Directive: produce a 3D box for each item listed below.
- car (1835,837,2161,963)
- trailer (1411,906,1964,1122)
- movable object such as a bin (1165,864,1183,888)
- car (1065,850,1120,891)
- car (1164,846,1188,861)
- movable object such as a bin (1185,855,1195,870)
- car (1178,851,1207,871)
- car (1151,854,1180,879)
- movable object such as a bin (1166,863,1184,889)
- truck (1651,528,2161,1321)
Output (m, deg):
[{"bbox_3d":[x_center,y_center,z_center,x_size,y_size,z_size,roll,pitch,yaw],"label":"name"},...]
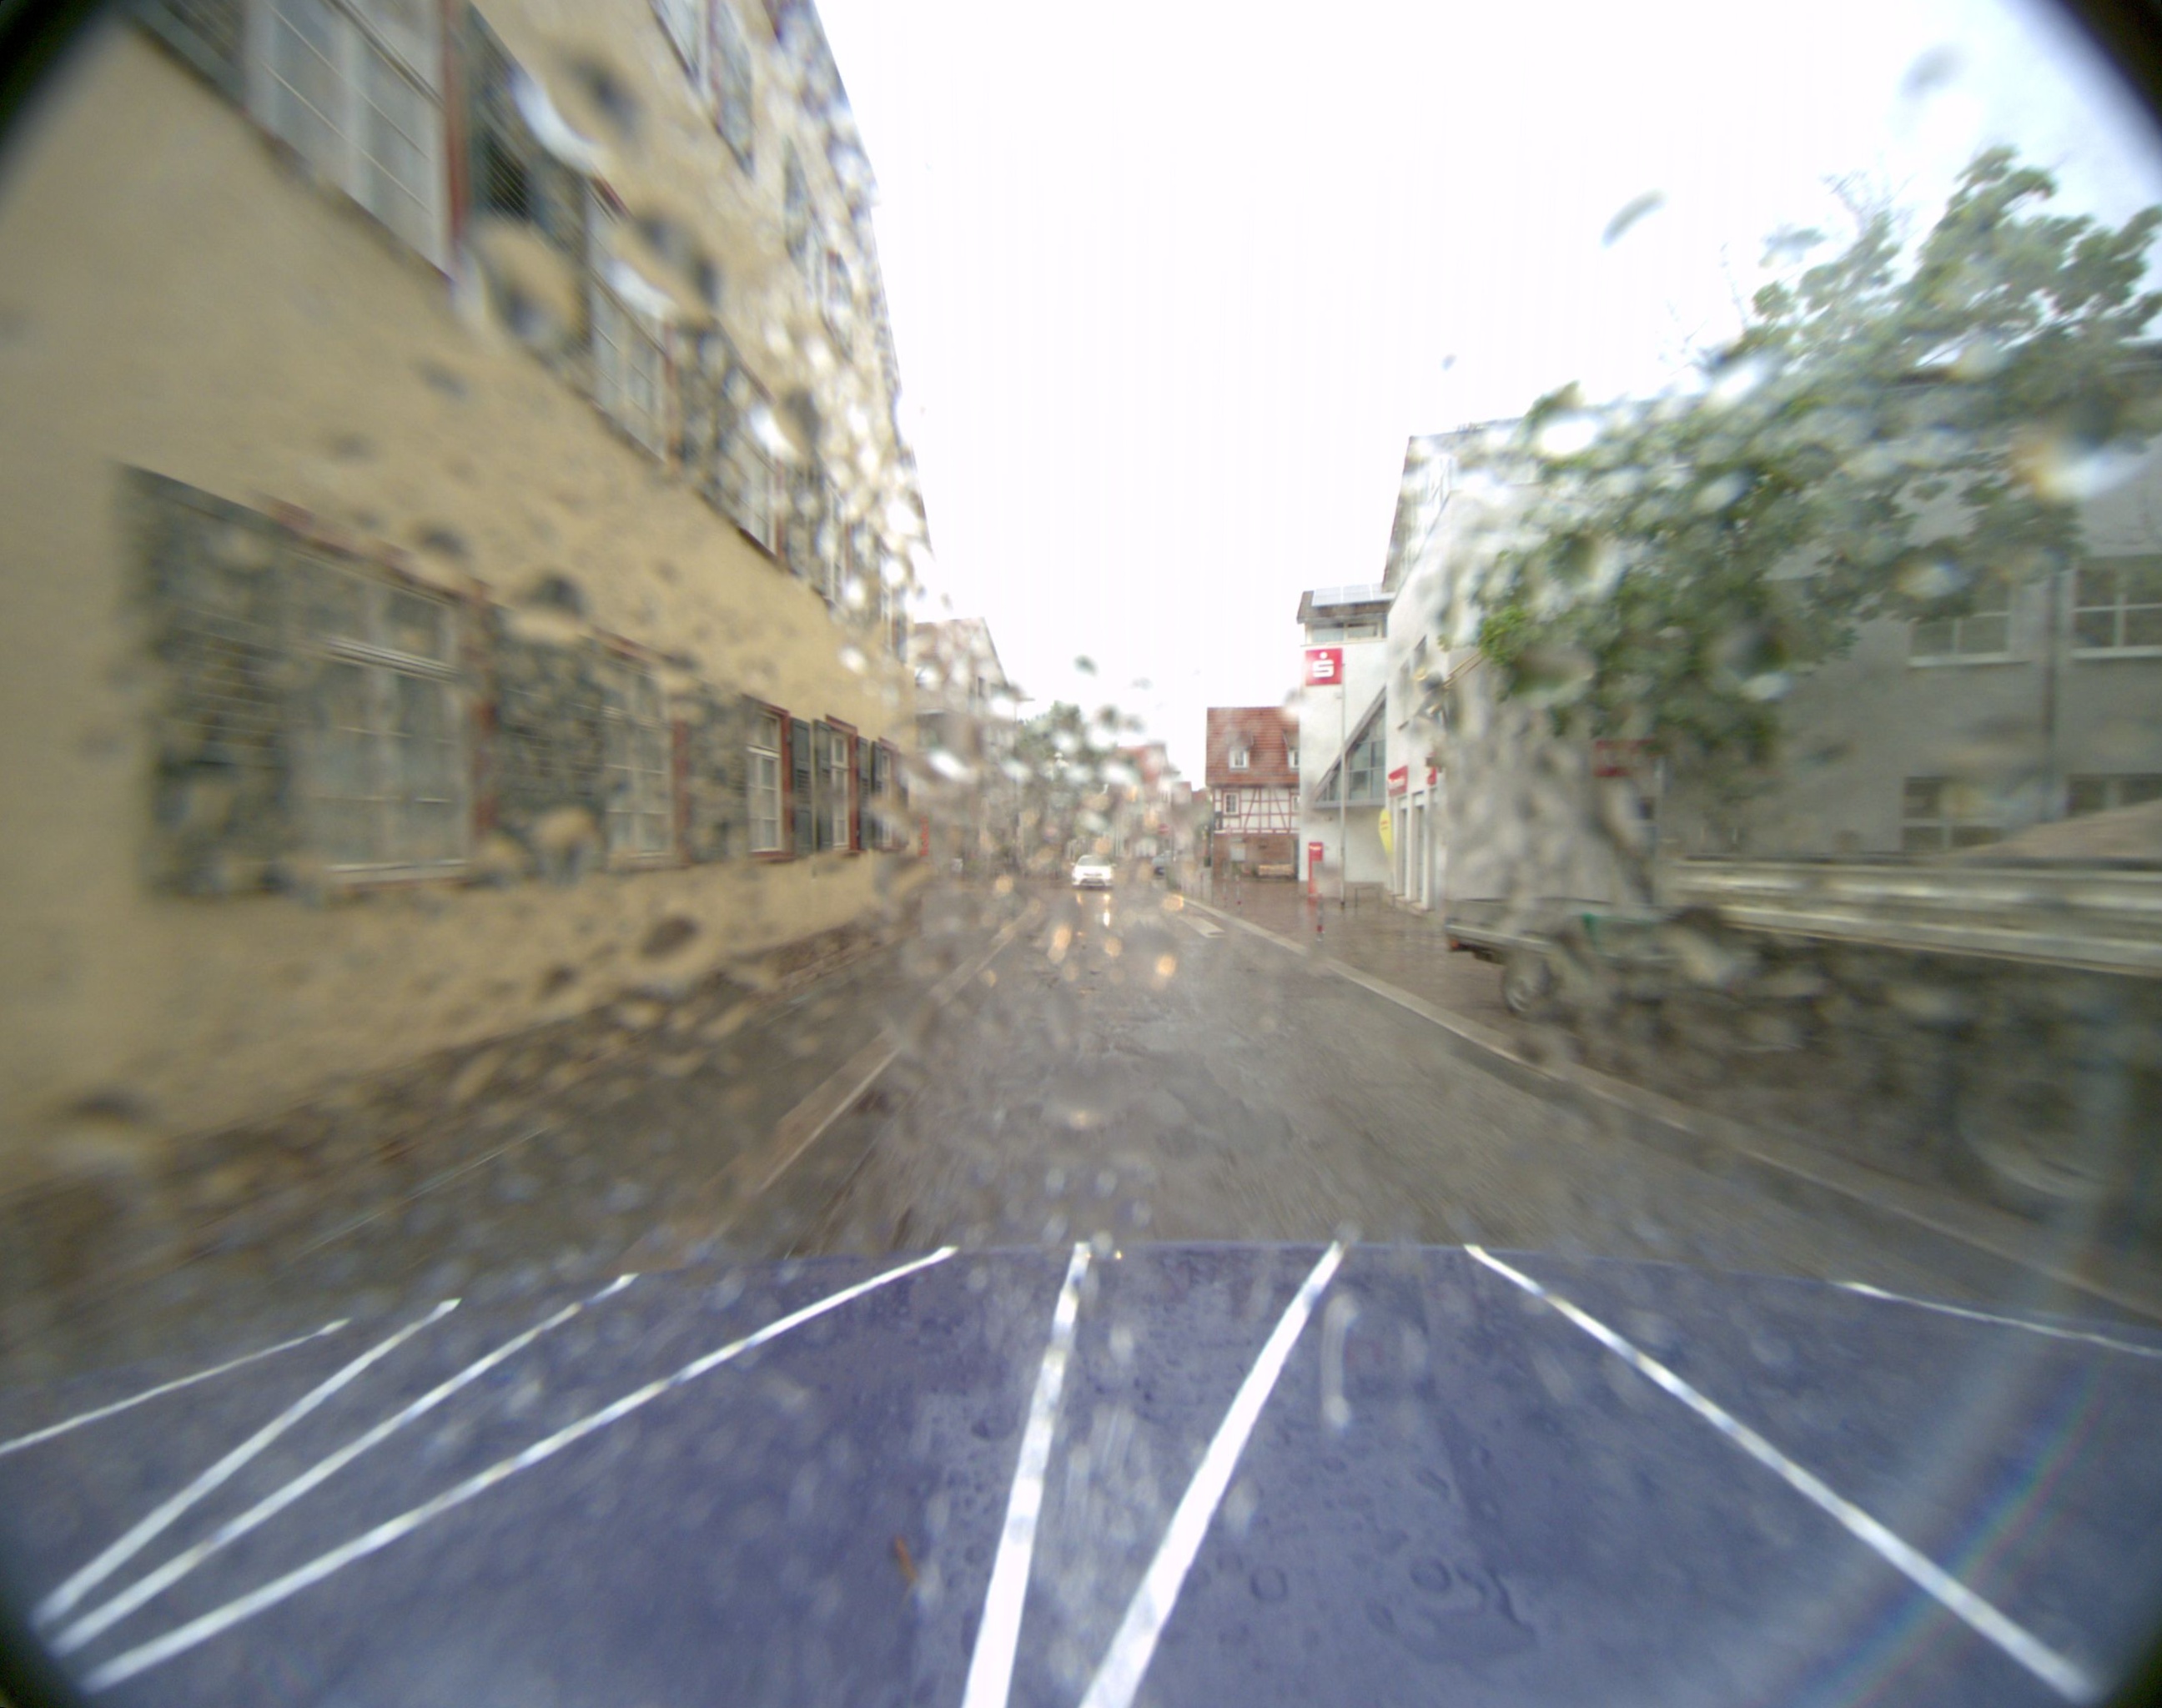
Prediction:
[{"bbox_3d":[13.951,0.601,10.843,4.113,1.609,1.858,1,1,14],"label":"car"},{"bbox_3d":[4.298,1.049,6.037,1.858,1.118,3.019,0,-2,-5],"label":"trailer"},{"bbox_3d":[4.152,0.964,33.931,0.697,1.045,0.645,1,1,2],"label":"movable object such as a bin"},{"bbox_3d":[0.567,0.668,33.005,1.866,1.577,4.616,1,1,7],"label":"car"},{"bbox_3d":[10.168,-0.087,81.277,1.865,1.452,4.005,1,1,16],"label":"car"},{"bbox_3d":[7.654,0.574,53.543,0.612,1.016,0.530,1,1,2],"label":"movable object such as a bin"},{"bbox_3d":[9.049,0.553,61.392,1.805,1.434,4.004,-1,1,16],"label":"car"},{"bbox_3d":[5.518,0.789,49.920,1.806,1.434,4.001,-1,1,6],"label":"car"},{"bbox_3d":[4.097,0.970,33.213,0.697,1.071,0.645,-2,1,2],"label":"movable object such as a bin"},{"bbox_3d":[4.799,0.189,1.315,2.406,2.579,6.482,0,-1,-4],"label":"truck"}]
